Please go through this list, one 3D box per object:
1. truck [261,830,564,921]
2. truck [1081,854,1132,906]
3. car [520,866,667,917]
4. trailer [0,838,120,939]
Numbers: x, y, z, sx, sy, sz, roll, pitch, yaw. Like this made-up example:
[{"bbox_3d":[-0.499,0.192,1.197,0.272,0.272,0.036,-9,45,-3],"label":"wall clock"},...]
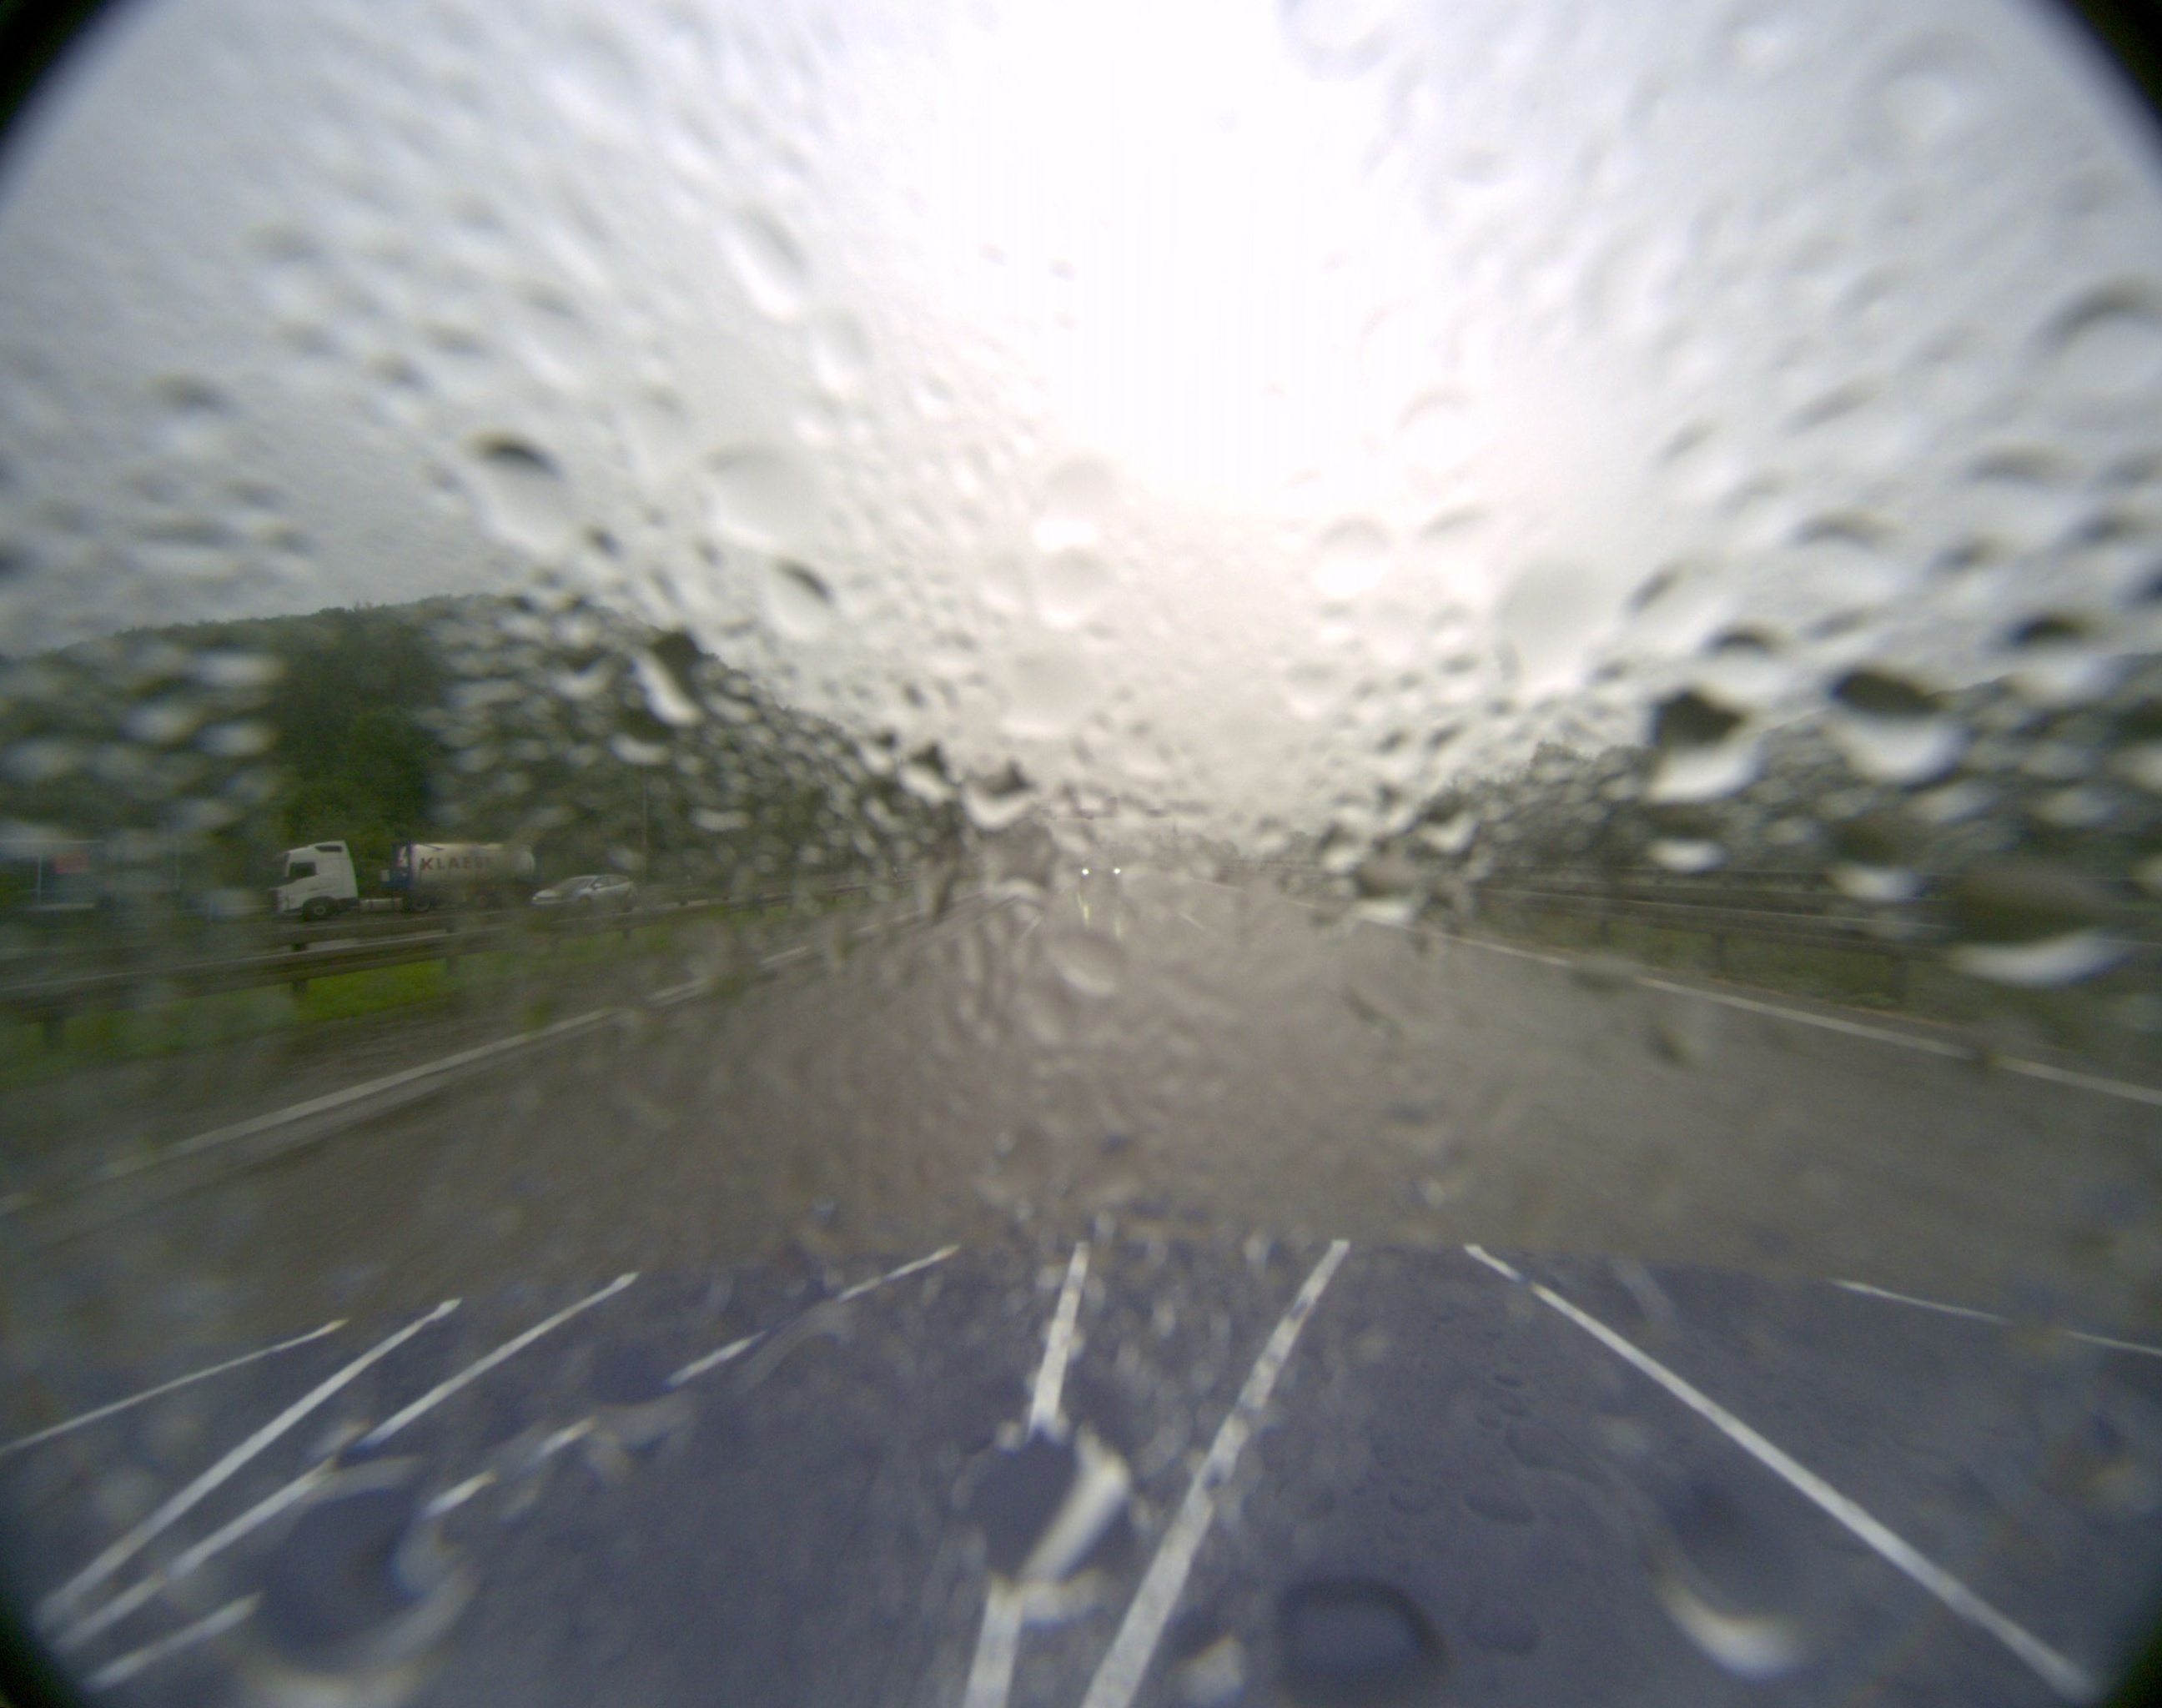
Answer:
[{"bbox_3d":[-35.682,0.897,41.507,2.872,4.232,11.893,-2,1,34],"label":"truck"},{"bbox_3d":[1.053,1.029,33.888,1.998,2.002,7.575,-1,0,1],"label":"truck"},{"bbox_3d":[-20.344,1.482,32.120,1.997,1.740,5.664,-2,1,6],"label":"car"},{"bbox_3d":[-44.970,1.510,27.881,2.786,3.878,11.772,-2,1,35],"label":"trailer"}]
